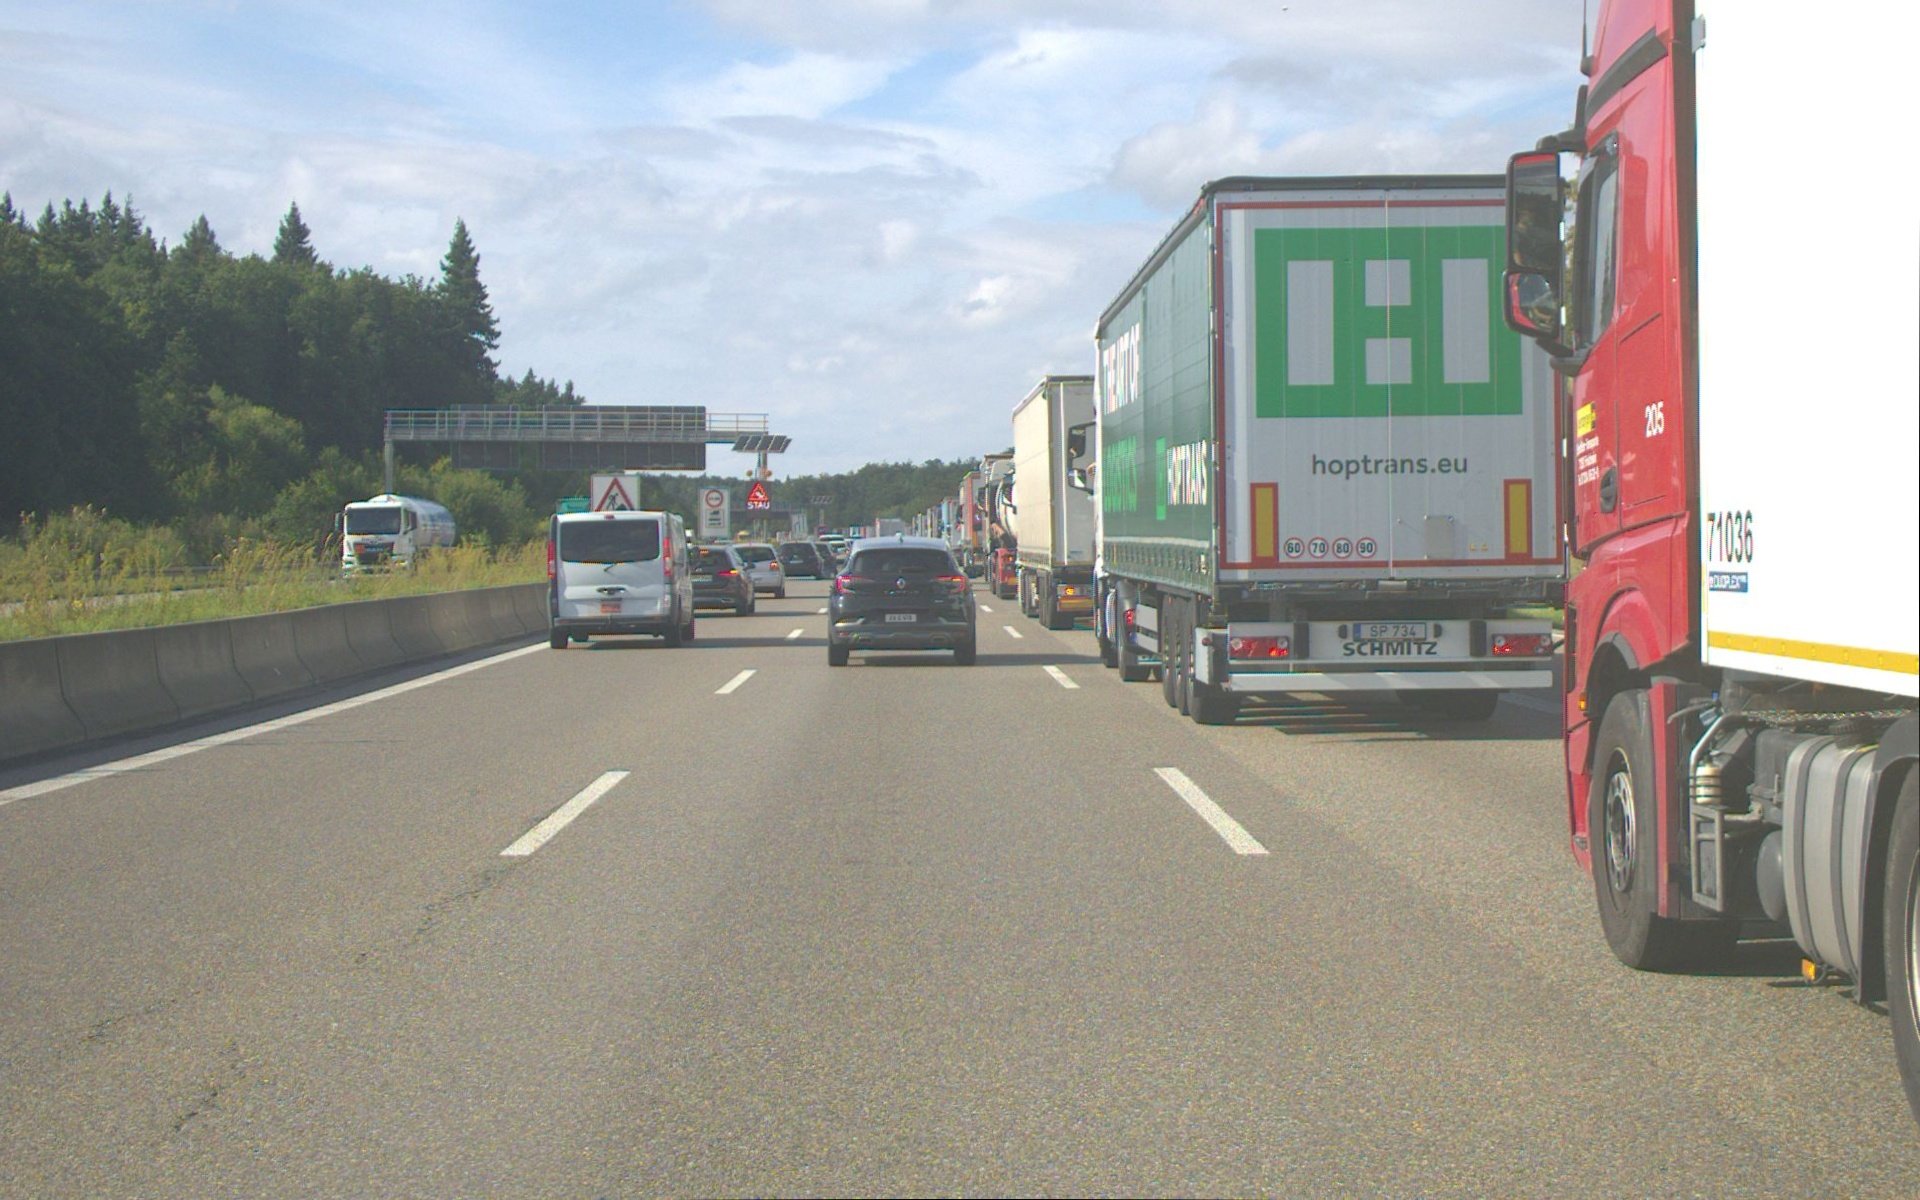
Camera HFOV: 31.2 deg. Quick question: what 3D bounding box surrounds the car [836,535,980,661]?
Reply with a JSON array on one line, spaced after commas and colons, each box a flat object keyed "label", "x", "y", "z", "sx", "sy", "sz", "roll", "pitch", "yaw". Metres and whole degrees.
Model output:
[{"label": "car", "x": -0.639, "y": -0.056, "z": 42.524, "sx": 1.696, "sy": 1.478, "sz": 4.160, "roll": 0, "pitch": 1, "yaw": -1}]

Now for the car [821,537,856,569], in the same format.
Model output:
[{"label": "car", "x": -5.273, "y": -2.043, "z": 149.360, "sx": 1.434, "sy": 1.305, "sz": 3.534, "roll": 2, "pitch": 1, "yaw": -1}]

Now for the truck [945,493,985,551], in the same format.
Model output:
[{"label": "truck", "x": 0.252, "y": -4.126, "z": 182.846, "sx": 1.993, "sy": 2.922, "sz": 4.982, "roll": 2, "pitch": 1, "yaw": 0}]

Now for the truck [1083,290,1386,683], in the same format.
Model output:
[{"label": "truck", "x": 2.840, "y": -1.168, "z": 37.453, "sx": 2.647, "sy": 3.855, "sz": 6.996, "roll": 0, "pitch": 1, "yaw": -1}]

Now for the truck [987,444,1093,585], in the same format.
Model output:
[{"label": "truck", "x": 2.074, "y": -2.223, "z": 91.224, "sx": 2.533, "sy": 3.571, "sz": 6.730, "roll": -1, "pitch": 1, "yaw": -1}]

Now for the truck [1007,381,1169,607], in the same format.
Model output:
[{"label": "truck", "x": 2.365, "y": -1.966, "z": 65.590, "sx": 2.708, "sy": 4.046, "sz": 6.362, "roll": -1, "pitch": 1, "yaw": -1}]

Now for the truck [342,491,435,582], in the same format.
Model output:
[{"label": "truck", "x": -20.972, "y": -2.334, "z": 126.465, "sx": 2.317, "sy": 3.262, "sz": 6.105, "roll": 0, "pitch": 1, "yaw": 1}]

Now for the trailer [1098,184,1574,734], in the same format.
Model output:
[{"label": "trailer", "x": 2.926, "y": -1.085, "z": 30.950, "sx": 2.661, "sy": 3.855, "sz": 13.395, "roll": 0, "pitch": 1, "yaw": -1}]

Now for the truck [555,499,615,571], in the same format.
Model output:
[{"label": "truck", "x": -22.816, "y": -3.951, "z": 209.507, "sx": 2.711, "sy": 4.229, "sz": 10.345, "roll": -1, "pitch": 1, "yaw": -1}]

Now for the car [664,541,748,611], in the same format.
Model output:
[{"label": "car", "x": -5.168, "y": -0.509, "z": 70.179, "sx": 1.500, "sy": 1.391, "sz": 3.476, "roll": 0, "pitch": 1, "yaw": -1}]

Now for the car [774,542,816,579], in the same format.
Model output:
[{"label": "car", "x": -6.241, "y": -1.488, "z": 130.075, "sx": 1.434, "sy": 1.305, "sz": 3.534, "roll": 2, "pitch": 1, "yaw": -1}]

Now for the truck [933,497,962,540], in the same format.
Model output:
[{"label": "truck", "x": -0.921, "y": -6.045, "z": 254.495, "sx": 1.993, "sy": 3.042, "sz": 4.982, "roll": 2, "pitch": 1, "yaw": 0}]

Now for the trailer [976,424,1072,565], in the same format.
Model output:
[{"label": "trailer", "x": 1.973, "y": -3.293, "z": 110.423, "sx": 2.802, "sy": 4.229, "sz": 11.057, "roll": -1, "pitch": 1, "yaw": 0}]

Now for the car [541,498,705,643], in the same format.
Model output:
[{"label": "car", "x": -4.949, "y": -0.453, "z": 51.113, "sx": 1.933, "sy": 1.972, "sz": 5.099, "roll": 2, "pitch": 1, "yaw": -1}]

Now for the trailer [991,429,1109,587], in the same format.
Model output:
[{"label": "trailer", "x": 2.139, "y": -2.215, "z": 85.396, "sx": 2.541, "sy": 3.641, "sz": 10.627, "roll": -1, "pitch": 1, "yaw": 0}]

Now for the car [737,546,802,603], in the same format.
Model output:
[{"label": "car", "x": -4.979, "y": -0.673, "z": 89.997, "sx": 1.500, "sy": 1.391, "sz": 3.476, "roll": 2, "pitch": 1, "yaw": -1}]

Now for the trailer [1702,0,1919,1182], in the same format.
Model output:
[{"label": "trailer", "x": 3.627, "y": -0.577, "z": 3.423, "sx": 2.791, "sy": 3.925, "sz": 13.070, "roll": 0, "pitch": 1, "yaw": -1}]

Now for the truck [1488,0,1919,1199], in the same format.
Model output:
[{"label": "truck", "x": 3.539, "y": -0.615, "z": 10.636, "sx": 2.802, "sy": 3.925, "sz": 5.826, "roll": 0, "pitch": 1, "yaw": -1}]

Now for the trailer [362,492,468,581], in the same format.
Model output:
[{"label": "trailer", "x": -20.927, "y": -2.443, "z": 132.480, "sx": 2.321, "sy": 3.273, "sz": 10.876, "roll": 0, "pitch": 1, "yaw": 0}]

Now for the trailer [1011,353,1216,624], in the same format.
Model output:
[{"label": "trailer", "x": 2.440, "y": -1.836, "z": 58.886, "sx": 2.703, "sy": 4.068, "sz": 12.945, "roll": -1, "pitch": 1, "yaw": -1}]

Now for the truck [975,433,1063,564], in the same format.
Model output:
[{"label": "truck", "x": 1.953, "y": -3.367, "z": 115.500, "sx": 2.786, "sy": 4.232, "sz": 6.460, "roll": -1, "pitch": 1, "yaw": 0}]

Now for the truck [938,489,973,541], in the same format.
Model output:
[{"label": "truck", "x": -0.268, "y": -5.169, "z": 210.171, "sx": 1.993, "sy": 3.042, "sz": 4.982, "roll": 2, "pitch": 1, "yaw": 0}]

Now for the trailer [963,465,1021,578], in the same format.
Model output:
[{"label": "trailer", "x": 1.208, "y": -3.017, "z": 133.939, "sx": 2.150, "sy": 4.244, "sz": 8.440, "roll": 0, "pitch": 1, "yaw": 0}]
